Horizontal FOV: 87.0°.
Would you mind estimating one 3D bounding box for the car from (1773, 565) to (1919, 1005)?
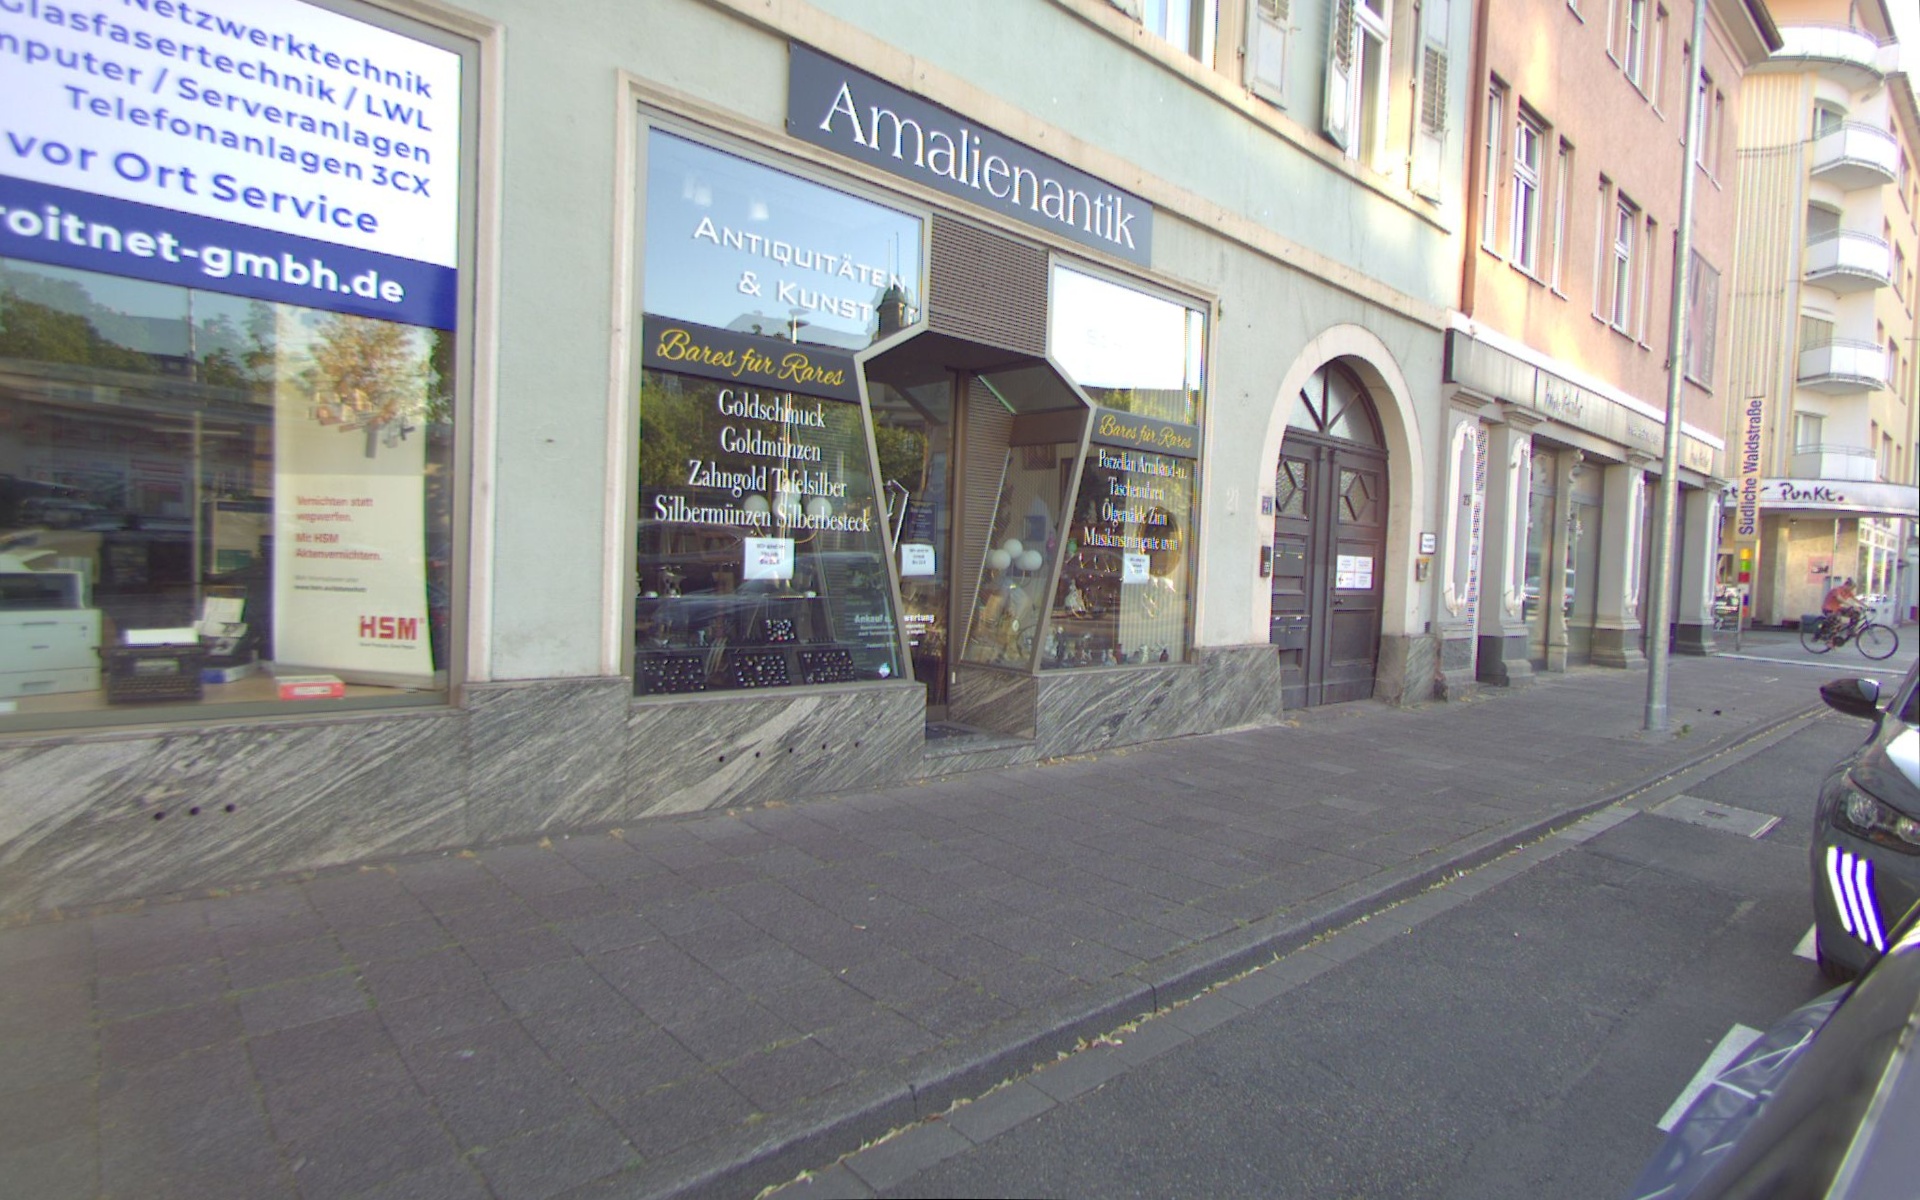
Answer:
[{"bbox_3d":[5.035,0.663,4.191,3.835,1.460,1.752,0,4,-39],"label":"car"}]

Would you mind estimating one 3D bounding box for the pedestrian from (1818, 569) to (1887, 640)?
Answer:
[{"bbox_3d":[17.963,0.085,20.382,0.551,1.367,0.860,1,3,-30],"label":"pedestrian"}]

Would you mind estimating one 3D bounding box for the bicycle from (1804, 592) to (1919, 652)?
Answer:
[{"bbox_3d":[18.046,0.417,20.216,0.551,1.070,1.707,1,3,-30],"label":"bicycle"}]
